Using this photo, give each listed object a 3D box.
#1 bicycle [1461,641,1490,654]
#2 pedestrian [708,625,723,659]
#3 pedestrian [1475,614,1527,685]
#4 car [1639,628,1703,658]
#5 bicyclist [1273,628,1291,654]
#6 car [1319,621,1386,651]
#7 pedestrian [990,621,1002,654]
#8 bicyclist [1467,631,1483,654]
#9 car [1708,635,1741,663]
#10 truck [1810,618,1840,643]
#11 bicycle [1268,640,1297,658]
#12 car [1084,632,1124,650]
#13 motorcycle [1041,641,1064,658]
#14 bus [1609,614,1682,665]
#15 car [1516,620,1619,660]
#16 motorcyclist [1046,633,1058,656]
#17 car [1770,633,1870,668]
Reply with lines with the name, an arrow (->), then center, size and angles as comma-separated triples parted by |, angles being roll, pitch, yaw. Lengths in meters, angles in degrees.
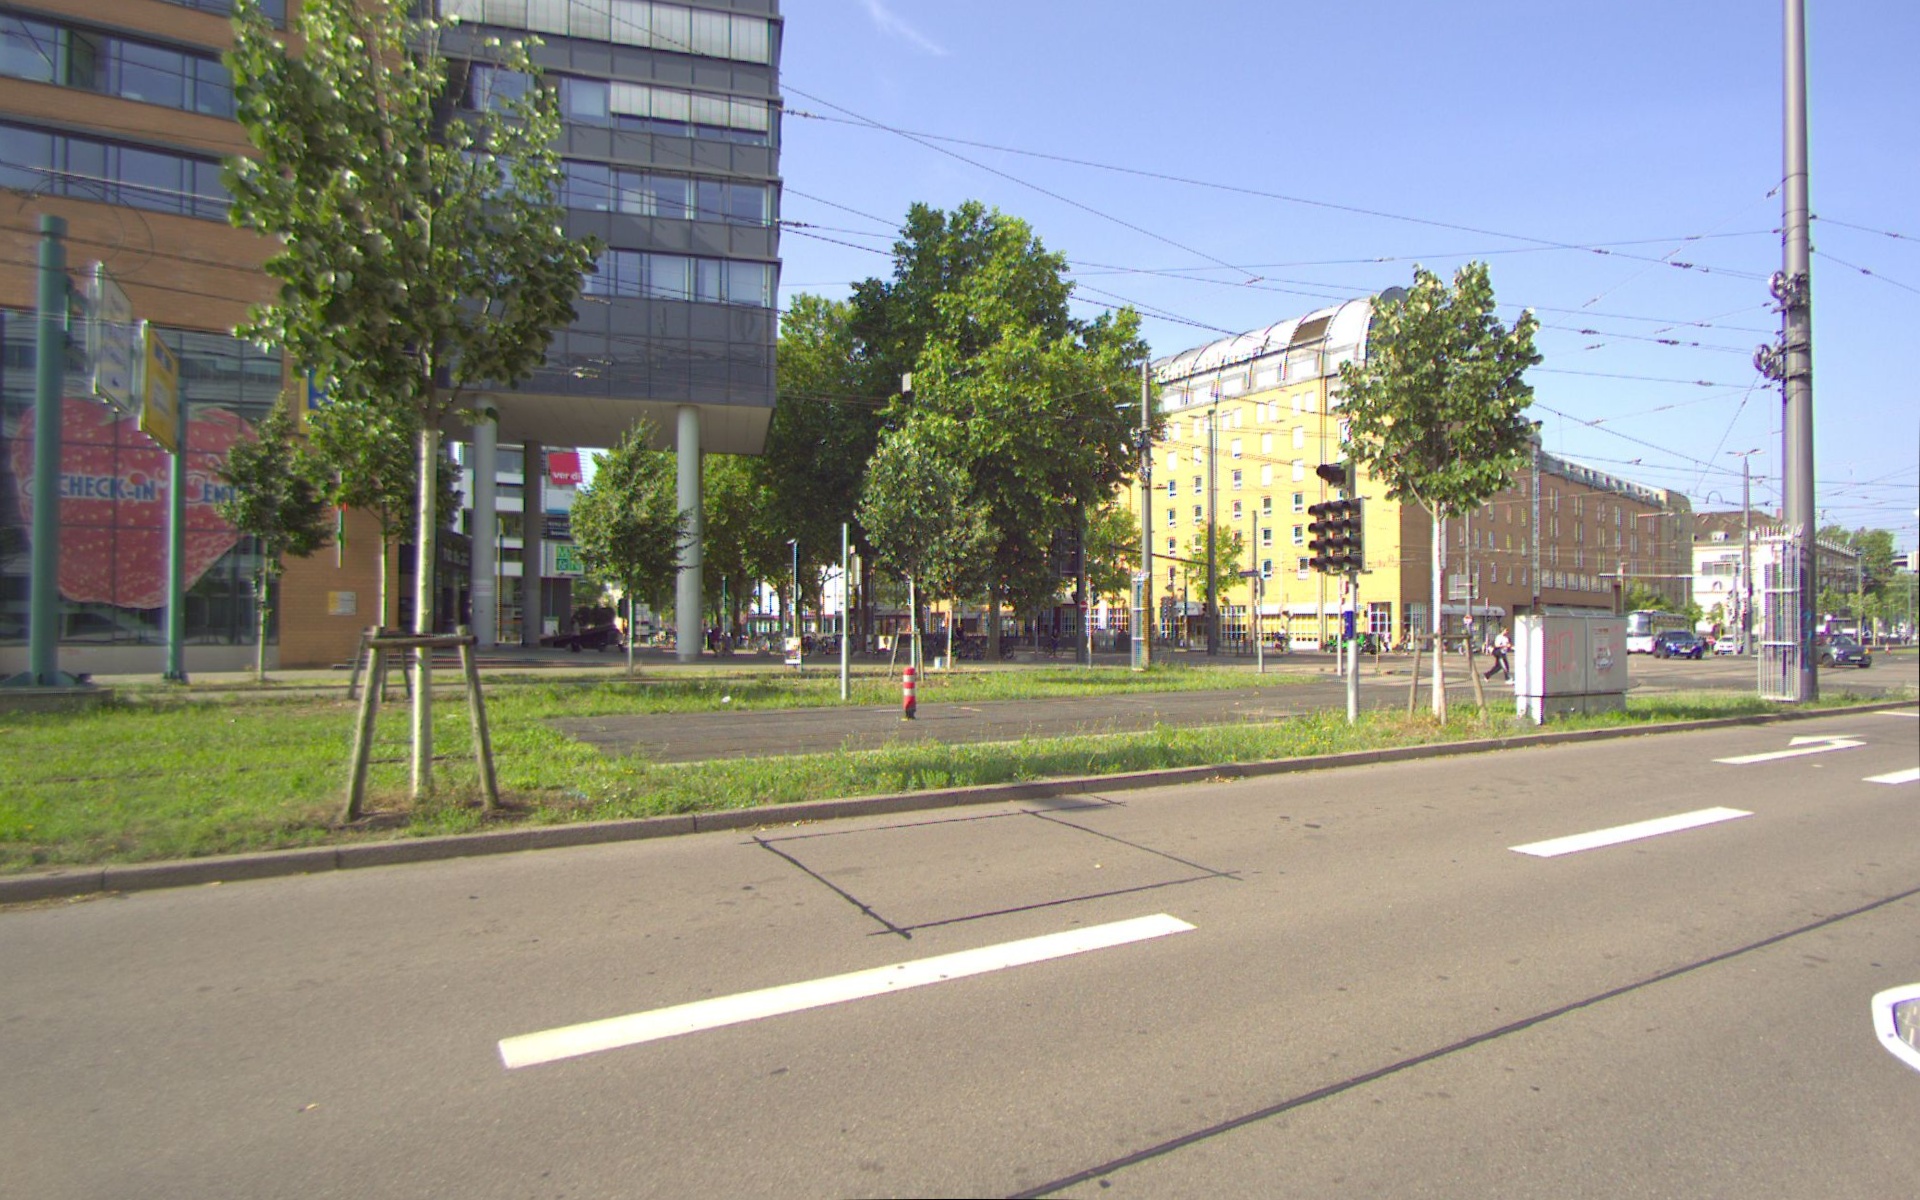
bicycle -> 40.092, 3.666, 78.111 | 1.940, 0.982, 0.417 | -1, -3, 45
pedestrian -> -11.266, 1.930, 46.292 | 0.651, 1.563, 0.617 | 0, -1, -12
pedestrian -> 15.888, 1.447, 29.521 | 0.769, 2.040, 1.146 | 3, -3, -38
car -> 41.760, 2.523, 59.128 | 1.953, 1.657, 4.415 | 1, -3, 20
bicyclist -> 21.957, 2.784, 68.513 | 0.956, 1.769, 0.661 | 3, -2, -30
car -> 27.548, 2.534, 70.631 | 1.984, 2.040, 3.955 | 3, -3, -39
pedestrian -> 2.257, 2.381, 63.579 | 0.534, 2.040, 0.485 | 3, -3, -38
bicyclist -> 40.088, 3.299, 78.139 | 0.976, 1.717, 0.666 | -1, -3, 44
car -> 59.608, 3.823, 78.332 | 2.710, 2.040, 1.587 | 4, -3, -42
truck -> 93.345, 3.291, 108.393 | 4.706, 2.633, 1.975 | 1, -1, -43
bicycle -> 22.013, 3.343, 68.558 | 2.260, 1.222, 0.546 | 3, -3, -30
car -> 13.607, 3.835, 95.157 | 1.848, 1.645, 3.591 | 1, -2, -33
motorcycle -> 5.439, 2.910, 59.044 | 0.281, 1.008, 1.677 | 3, -3, -37
bus -> 58.238, 3.431, 85.120 | 12.136, 3.972, 2.720 | 4, -3, -44
car -> 32.414, 2.093, 53.767 | 1.967, 2.040, 4.601 | 1, -2, -16
motorcyclist -> 5.416, 2.611, 59.086 | 0.414, 1.339, 0.527 | 3, -3, -38
car -> 39.351, 2.306, 46.064 | 1.668, 1.512, 3.606 | 1, -2, 4
